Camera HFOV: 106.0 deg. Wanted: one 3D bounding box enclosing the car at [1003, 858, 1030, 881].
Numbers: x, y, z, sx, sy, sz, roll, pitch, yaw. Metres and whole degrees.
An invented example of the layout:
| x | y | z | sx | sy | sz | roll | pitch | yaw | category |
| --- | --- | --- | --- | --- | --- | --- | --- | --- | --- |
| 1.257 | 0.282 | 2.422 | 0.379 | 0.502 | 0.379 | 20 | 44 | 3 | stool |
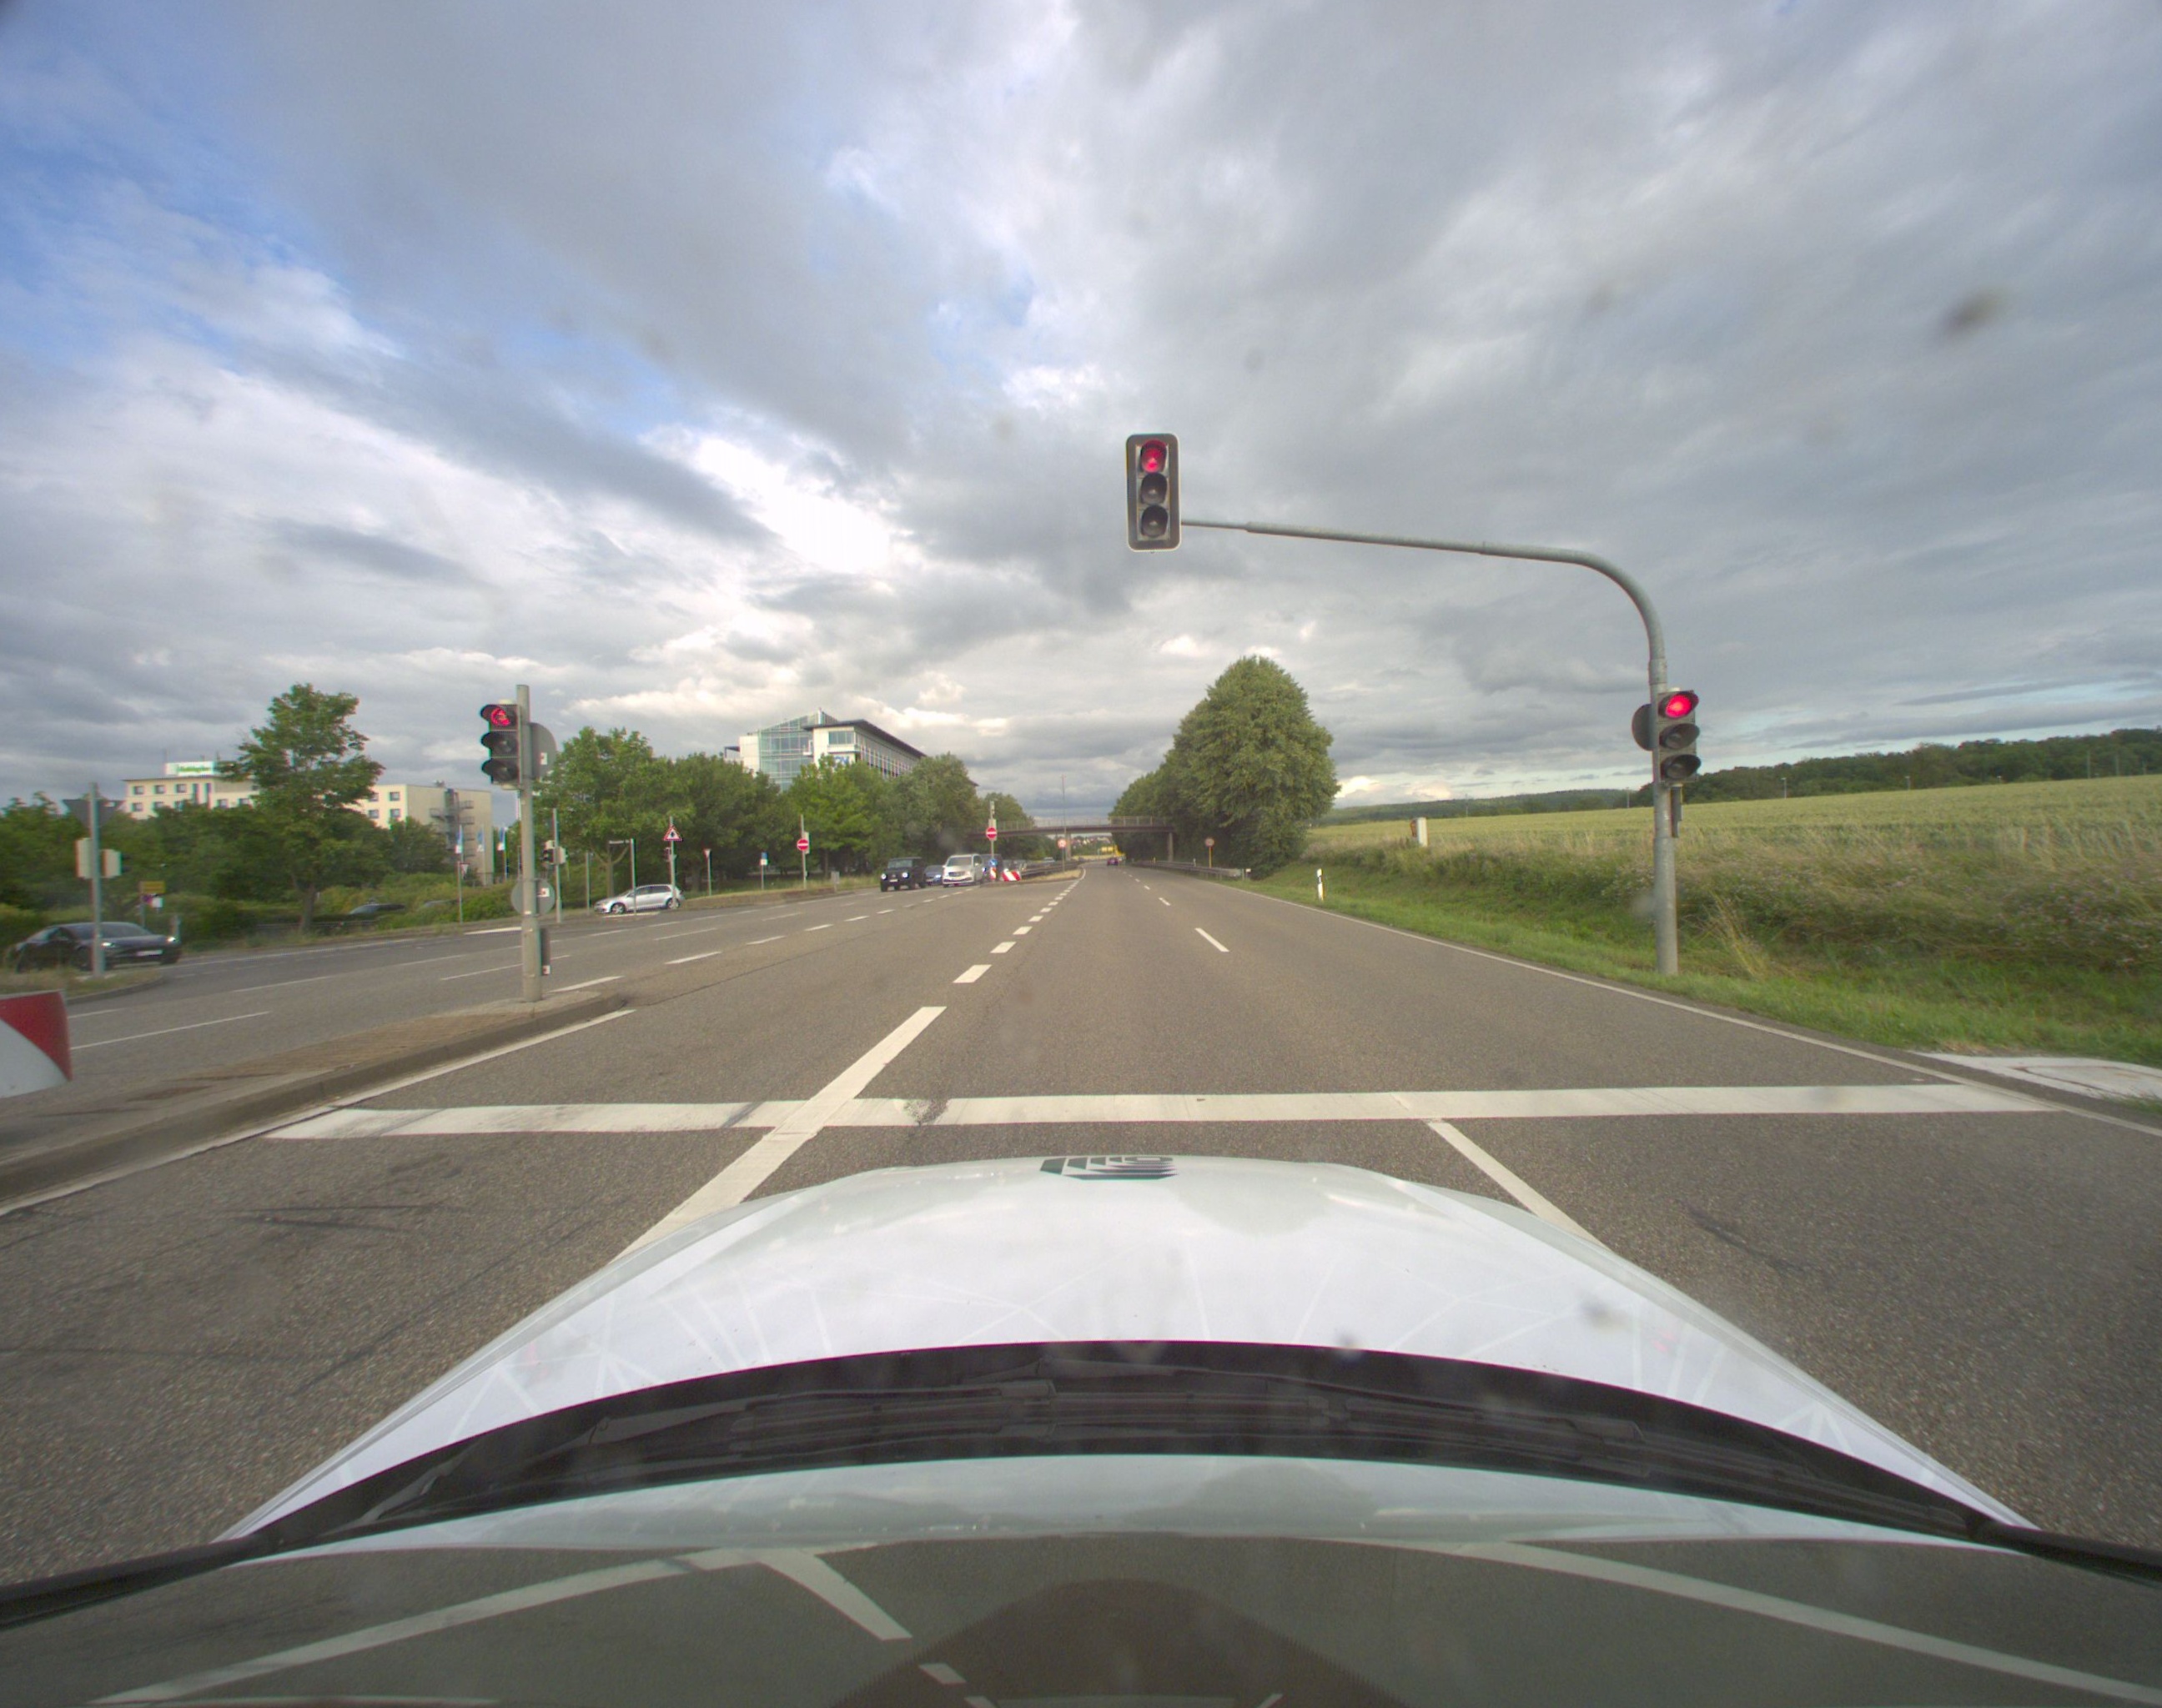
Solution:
| x | y | z | sx | sy | sz | roll | pitch | yaw | category |
| --- | --- | --- | --- | --- | --- | --- | --- | --- | --- |
| -5.992 | 1.421 | 75.944 | 2.076 | 2.014 | 5.216 | 0 | -1 | 1 | car |

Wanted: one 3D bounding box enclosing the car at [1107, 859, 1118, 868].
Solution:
| x | y | z | sx | sy | sz | roll | pitch | yaw | category |
| --- | --- | --- | --- | --- | --- | --- | --- | --- | --- |
| 5.609 | 1.659 | 147.242 | 1.873 | 1.552 | 4.000 | 0 | -1 | 1 | car |

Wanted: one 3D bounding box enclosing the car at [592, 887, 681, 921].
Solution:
| x | y | z | sx | sy | sz | roll | pitch | yaw | category |
| --- | --- | --- | --- | --- | --- | --- | --- | --- | --- |
| -23.222 | 2.594 | 42.640 | 3.771 | 1.342 | 1.567 | -5 | 0 | -41 | car |

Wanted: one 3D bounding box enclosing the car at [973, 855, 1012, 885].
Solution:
| x | y | z | sx | sy | sz | roll | pitch | yaw | category |
| --- | --- | --- | --- | --- | --- | --- | --- | --- | --- |
| -6.180 | 1.085 | 57.394 | 2.076 | 2.014 | 5.216 | 0 | -1 | 1 | car |

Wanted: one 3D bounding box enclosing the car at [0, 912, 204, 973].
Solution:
| x | y | z | sx | sy | sz | roll | pitch | yaw | category |
| --- | --- | --- | --- | --- | --- | --- | --- | --- | --- |
| -28.928 | 2.566 | 23.610 | 4.368 | 1.457 | 1.911 | -3 | -3 | -16 | car |

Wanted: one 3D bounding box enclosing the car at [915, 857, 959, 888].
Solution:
| x | y | z | sx | sy | sz | roll | pitch | yaw | category |
| --- | --- | --- | --- | --- | --- | --- | --- | --- | --- |
| -10.021 | 1.264 | 57.138 | 2.076 | 2.014 | 5.216 | 0 | -1 | 1 | car |

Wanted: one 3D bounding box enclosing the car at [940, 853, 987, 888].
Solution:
| x | y | z | sx | sy | sz | roll | pitch | yaw | category |
| --- | --- | --- | --- | --- | --- | --- | --- | --- | --- |
| -7.098 | 0.975 | 49.675 | 2.076 | 2.014 | 5.216 | 0 | -1 | 1 | car |

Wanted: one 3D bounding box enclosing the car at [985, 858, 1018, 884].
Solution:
| x | y | z | sx | sy | sz | roll | pitch | yaw | category |
| --- | --- | --- | --- | --- | --- | --- | --- | --- | --- |
| -6.262 | 1.322 | 64.964 | 2.076 | 2.014 | 5.216 | 0 | -1 | 1 | car |

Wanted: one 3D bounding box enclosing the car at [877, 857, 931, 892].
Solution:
| x | y | z | sx | sy | sz | roll | pitch | yaw | category |
| --- | --- | --- | --- | --- | --- | --- | --- | --- | --- |
| -10.718 | 1.199 | 49.649 | 2.076 | 2.014 | 5.216 | 0 | -1 | 1 | car |
